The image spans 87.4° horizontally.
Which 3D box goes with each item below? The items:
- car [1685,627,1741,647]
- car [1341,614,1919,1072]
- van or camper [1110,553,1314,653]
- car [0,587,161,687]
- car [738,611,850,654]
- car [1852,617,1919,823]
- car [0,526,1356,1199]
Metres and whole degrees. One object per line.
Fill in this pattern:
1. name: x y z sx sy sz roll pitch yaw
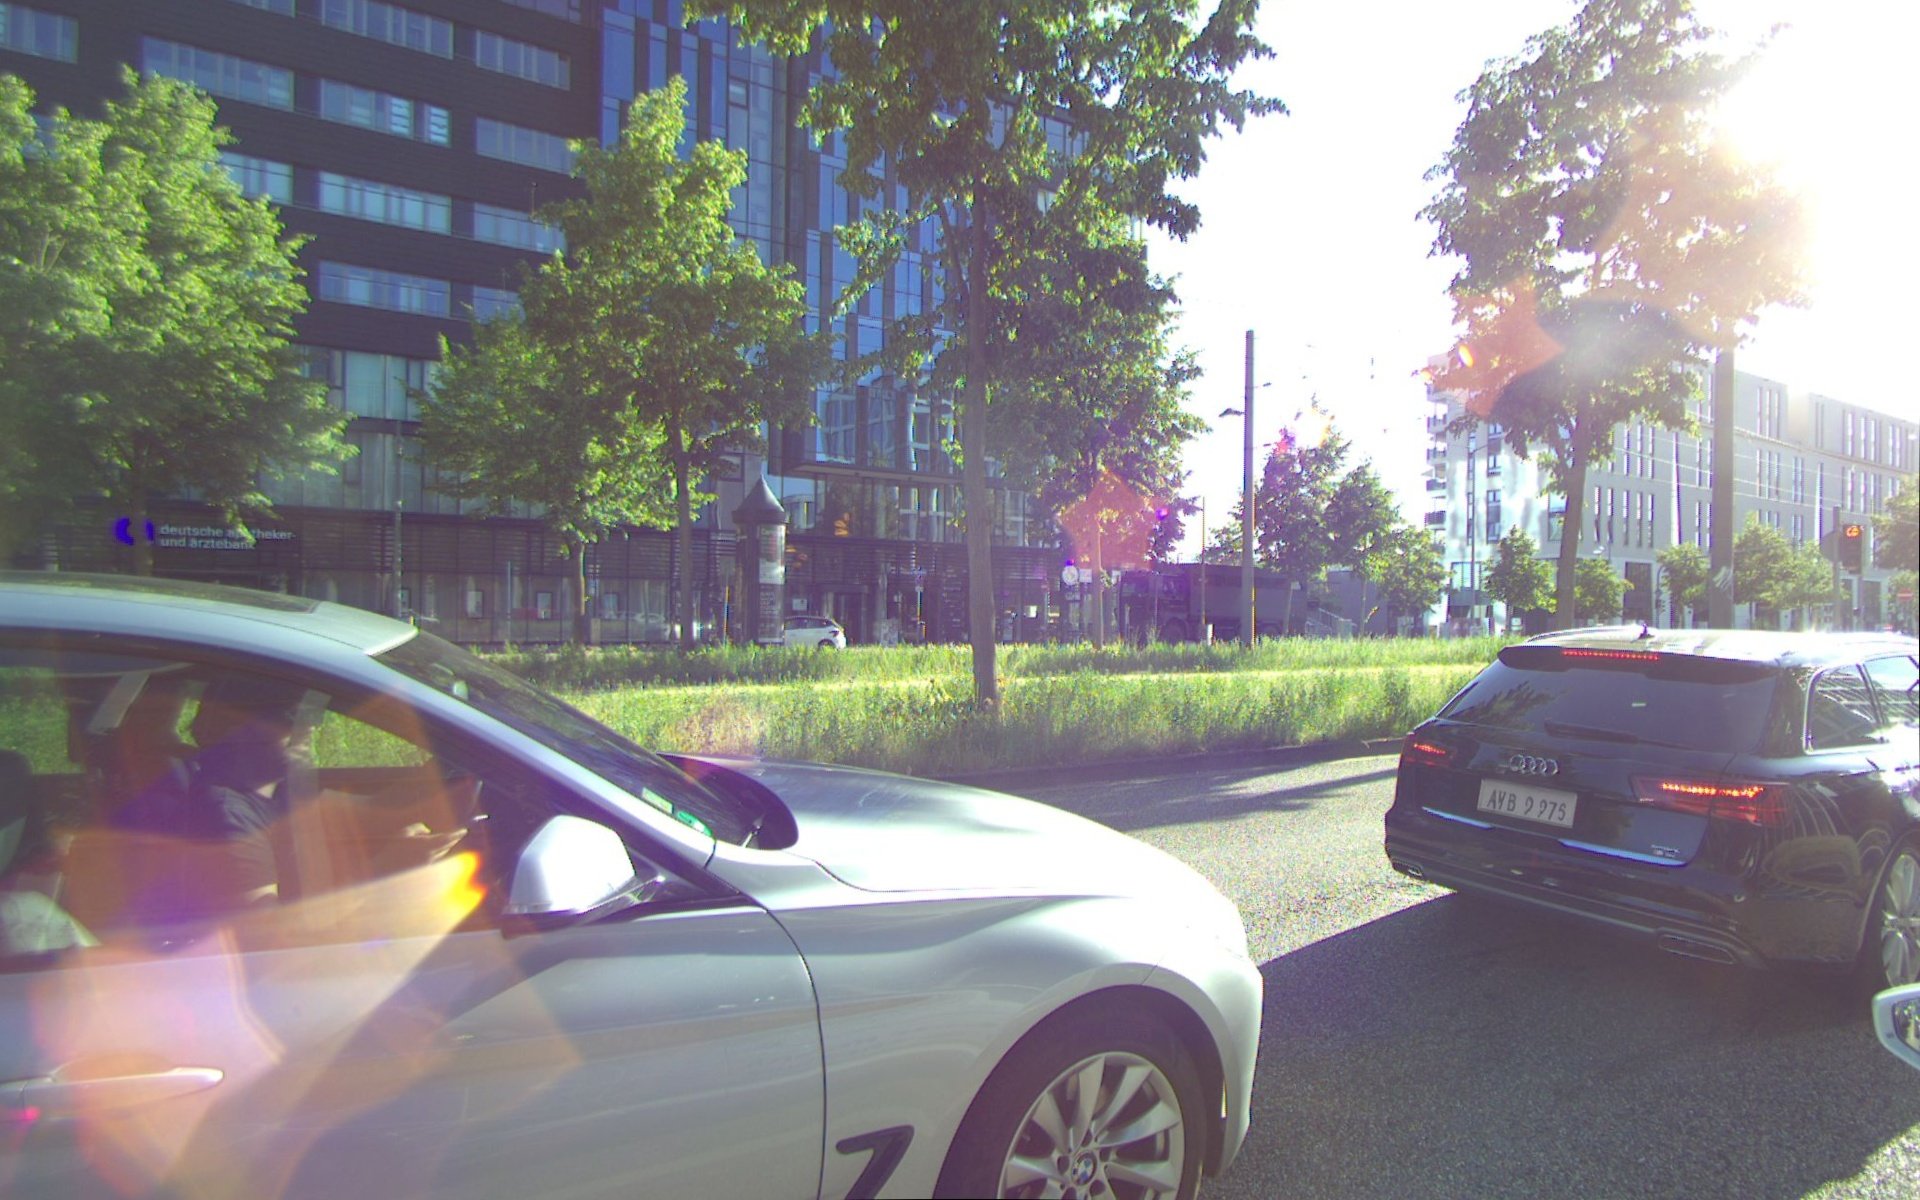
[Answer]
1. car: 52.581 2.607 70.150 4.420 1.360 1.572 2 -1 -31
2. car: 4.203 0.848 5.203 4.455 1.476 1.799 1 -1 -31
3. van or camper: 11.802 0.234 46.477 10.109 4.248 2.740 2 -1 -30
4. car: -16.010 0.574 16.153 4.680 1.558 1.845 1 -1 -30
5. car: -6.176 1.197 37.621 3.922 1.525 1.758 1 -1 -2
6. car: 9.235 0.946 8.146 4.063 1.548 1.800 1 -1 -30
7. car: -1.515 0.674 1.946 4.689 1.508 1.799 1 -1 -31
